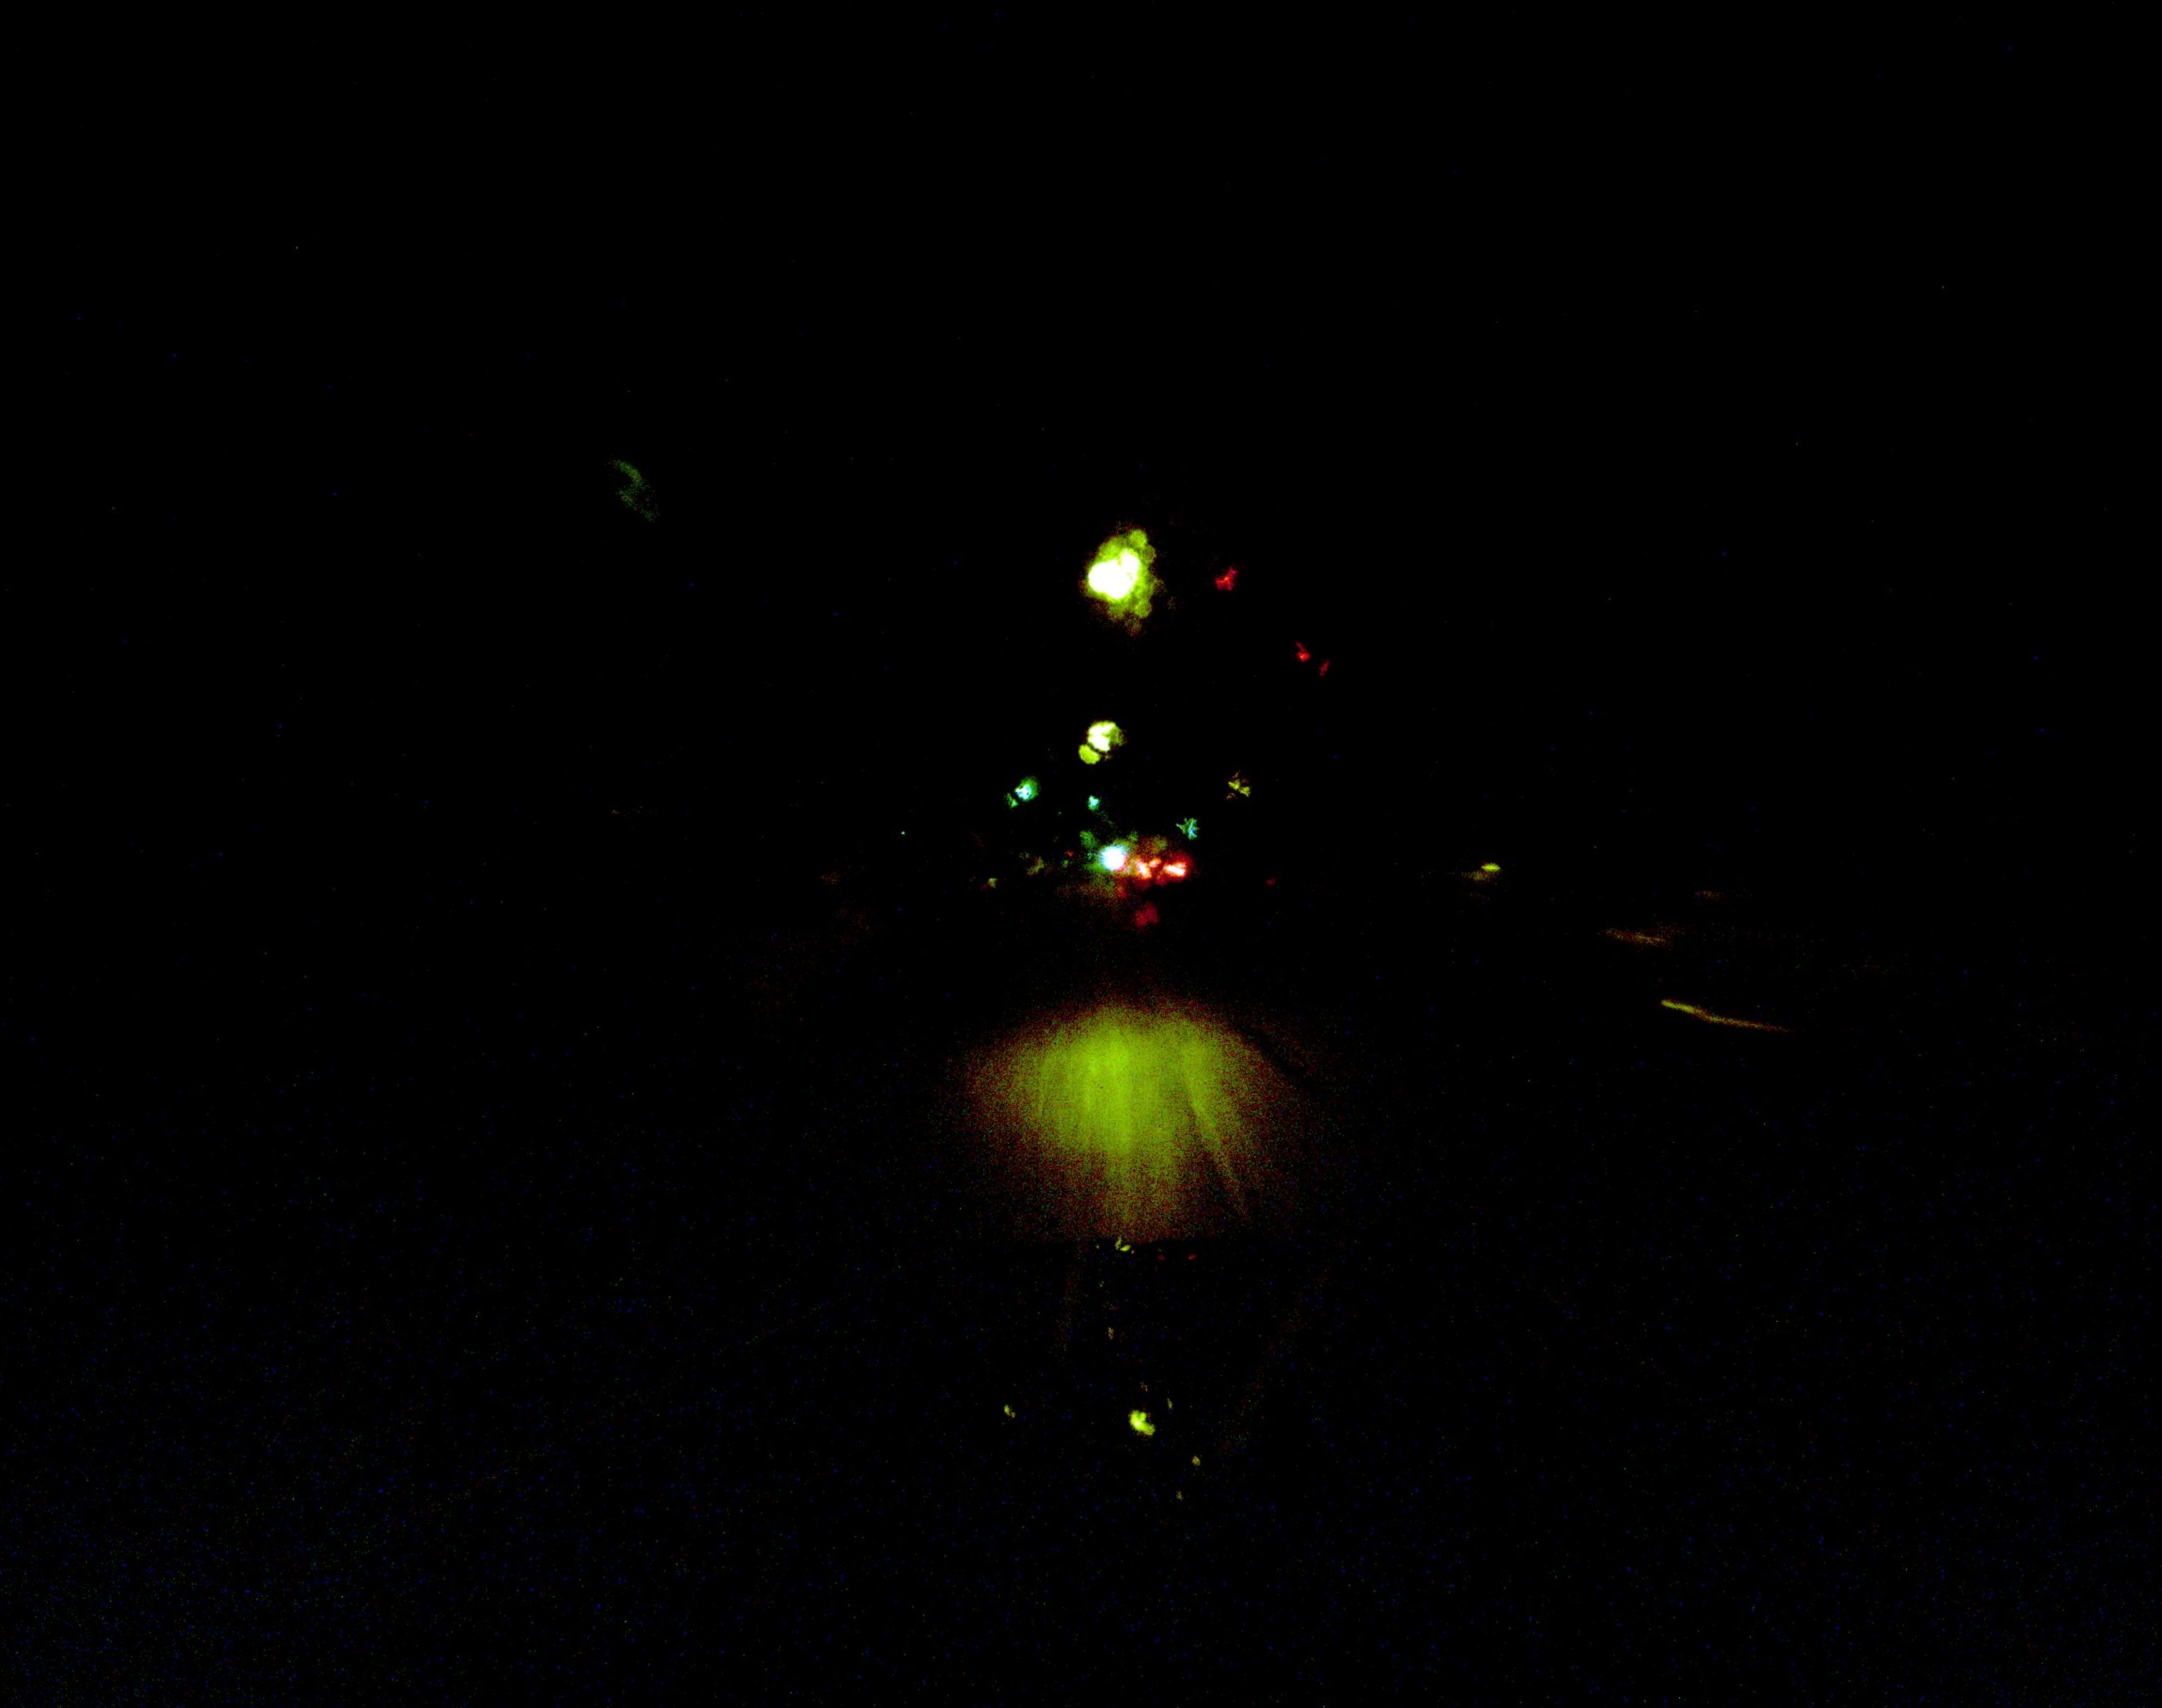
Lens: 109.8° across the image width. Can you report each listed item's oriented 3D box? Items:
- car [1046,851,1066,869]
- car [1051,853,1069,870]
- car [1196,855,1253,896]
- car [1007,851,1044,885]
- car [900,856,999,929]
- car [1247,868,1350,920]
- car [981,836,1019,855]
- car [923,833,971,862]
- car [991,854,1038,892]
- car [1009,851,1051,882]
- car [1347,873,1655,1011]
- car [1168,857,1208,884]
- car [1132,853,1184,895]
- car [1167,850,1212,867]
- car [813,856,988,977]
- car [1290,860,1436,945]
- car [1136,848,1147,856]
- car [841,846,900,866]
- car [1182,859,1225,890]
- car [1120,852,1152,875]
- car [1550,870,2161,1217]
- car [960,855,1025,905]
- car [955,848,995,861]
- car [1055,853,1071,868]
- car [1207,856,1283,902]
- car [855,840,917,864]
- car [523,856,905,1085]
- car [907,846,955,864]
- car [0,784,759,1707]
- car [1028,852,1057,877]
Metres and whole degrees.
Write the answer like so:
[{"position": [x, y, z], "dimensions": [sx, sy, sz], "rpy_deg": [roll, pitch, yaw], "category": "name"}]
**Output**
[{"position": [-2.240, 0.513, 68.542], "dimensions": [1.695, 1.581, 3.765], "rpy_deg": [1, 0, -2], "category": "car"}, {"position": [-2.067, 0.693, 73.980], "dimensions": [1.649, 1.581, 3.445], "rpy_deg": [1, 0, -2], "category": "car"}, {"position": [6.100, 0.866, 32.762], "dimensions": [1.628, 1.564, 3.962], "rpy_deg": [3, 0, 0], "category": "car"}, {"position": [-2.582, 0.632, 36.016], "dimensions": [1.608, 1.464, 3.951], "rpy_deg": [1, 0, -2], "category": "car"}, {"position": [-3.021, 0.827, 18.193], "dimensions": [1.800, 1.538, 3.951], "rpy_deg": [1, 0, -2], "category": "car"}, {"position": [6.179, 1.077, 22.112], "dimensions": [1.843, 1.260, 4.638], "rpy_deg": [1, 0, 3], "category": "car"}, {"position": [-9.433, -1.005, 88.722], "dimensions": [4.022, 2.156, 1.802], "rpy_deg": [1, 0, 7], "category": "car"}, {"position": [-12.465, -0.567, 71.026], "dimensions": [4.022, 2.603, 1.802], "rpy_deg": [1, 0, 7], "category": "car"}, {"position": [-2.713, 0.753, 31.583], "dimensions": [1.608, 1.464, 3.951], "rpy_deg": [1, 0, 0], "category": "car"}, {"position": [-2.669, 0.655, 40.871], "dimensions": [1.799, 1.538, 4.785], "rpy_deg": [1, 0, 2], "category": "car"}, {"position": [5.519, 1.046, 10.828], "dimensions": [1.624, 1.410, 4.674], "rpy_deg": [1, 0, -2], "category": "car"}, {"position": [6.201, 0.945, 44.478], "dimensions": [1.628, 1.464, 4.548], "rpy_deg": [1, 0, -1], "category": "car"}, {"position": [3.027, 0.740, 30.619], "dimensions": [1.710, 1.531, 4.371], "rpy_deg": [1, 0, 2], "category": "car"}, {"position": [11.698, 0.451, 81.704], "dimensions": [4.539, 1.695, 1.853], "rpy_deg": [1, 0, 15], "category": "car"}, {"position": [-2.690, 0.841, 12.485], "dimensions": [1.873, 1.570, 4.746], "rpy_deg": [1, 0, -2], "category": "car"}, {"position": [5.901, 0.928, 16.432], "dimensions": [1.710, 1.531, 4.059], "rpy_deg": [2, 0, 2], "category": "car"}, {"position": [11.878, -0.317, 148.987], "dimensions": [1.849, 1.440, 4.549], "rpy_deg": [1, 0, 2], "category": "car"}, {"position": [-14.789, 0.128, 53.432], "dimensions": [3.663, 1.333, 1.666], "rpy_deg": [1, 0, 1], "category": "car"}, {"position": [6.172, 1.013, 38.648], "dimensions": [1.627, 1.464, 3.963], "rpy_deg": [1, 0, 2], "category": "car"}, {"position": [3.749, 0.632, 52.325], "dimensions": [2.044, 1.539, 4.683], "rpy_deg": [-1, 0, 2], "category": "car"}, {"position": [5.690, 0.948, 5.719], "dimensions": [1.670, 1.531, 4.391], "rpy_deg": [1, 0, 2], "category": "car"}, {"position": [-2.828, 0.803, 25.040], "dimensions": [1.800, 1.464, 3.951], "rpy_deg": [1, 0, -2], "category": "car"}, {"position": [-11.681, 0.048, 83.748], "dimensions": [4.022, 1.261, 1.803], "rpy_deg": [1, 0, 7], "category": "car"}, {"position": [-2.037, 0.751, 84.892], "dimensions": [1.695, 1.581, 3.765], "rpy_deg": [1, 0, -1], "category": "car"}, {"position": [5.770, 0.821, 27.208], "dimensions": [1.799, 1.464, 4.396], "rpy_deg": [1, 0, 1], "category": "car"}, {"position": [-14.345, -0.143, 56.039], "dimensions": [4.090, 1.697, 1.666], "rpy_deg": [1, 0, 4], "category": "car"}, {"position": [-2.960, 0.812, 7.176], "dimensions": [1.800, 1.538, 3.951], "rpy_deg": [1, 0, -2], "category": "car"}, {"position": [-12.556, 0.078, 63.592], "dimensions": [3.663, 1.448, 1.666], "rpy_deg": [1, 0, 1], "category": "car"}, {"position": [-2.870, 0.825, 1.910], "dimensions": [1.800, 1.938, 5.853], "rpy_deg": [1, 0, -2], "category": "car"}, {"position": [-2.581, 0.696, 51.518], "dimensions": [1.896, 1.581, 3.834], "rpy_deg": [1, 0, -2], "category": "car"}]
